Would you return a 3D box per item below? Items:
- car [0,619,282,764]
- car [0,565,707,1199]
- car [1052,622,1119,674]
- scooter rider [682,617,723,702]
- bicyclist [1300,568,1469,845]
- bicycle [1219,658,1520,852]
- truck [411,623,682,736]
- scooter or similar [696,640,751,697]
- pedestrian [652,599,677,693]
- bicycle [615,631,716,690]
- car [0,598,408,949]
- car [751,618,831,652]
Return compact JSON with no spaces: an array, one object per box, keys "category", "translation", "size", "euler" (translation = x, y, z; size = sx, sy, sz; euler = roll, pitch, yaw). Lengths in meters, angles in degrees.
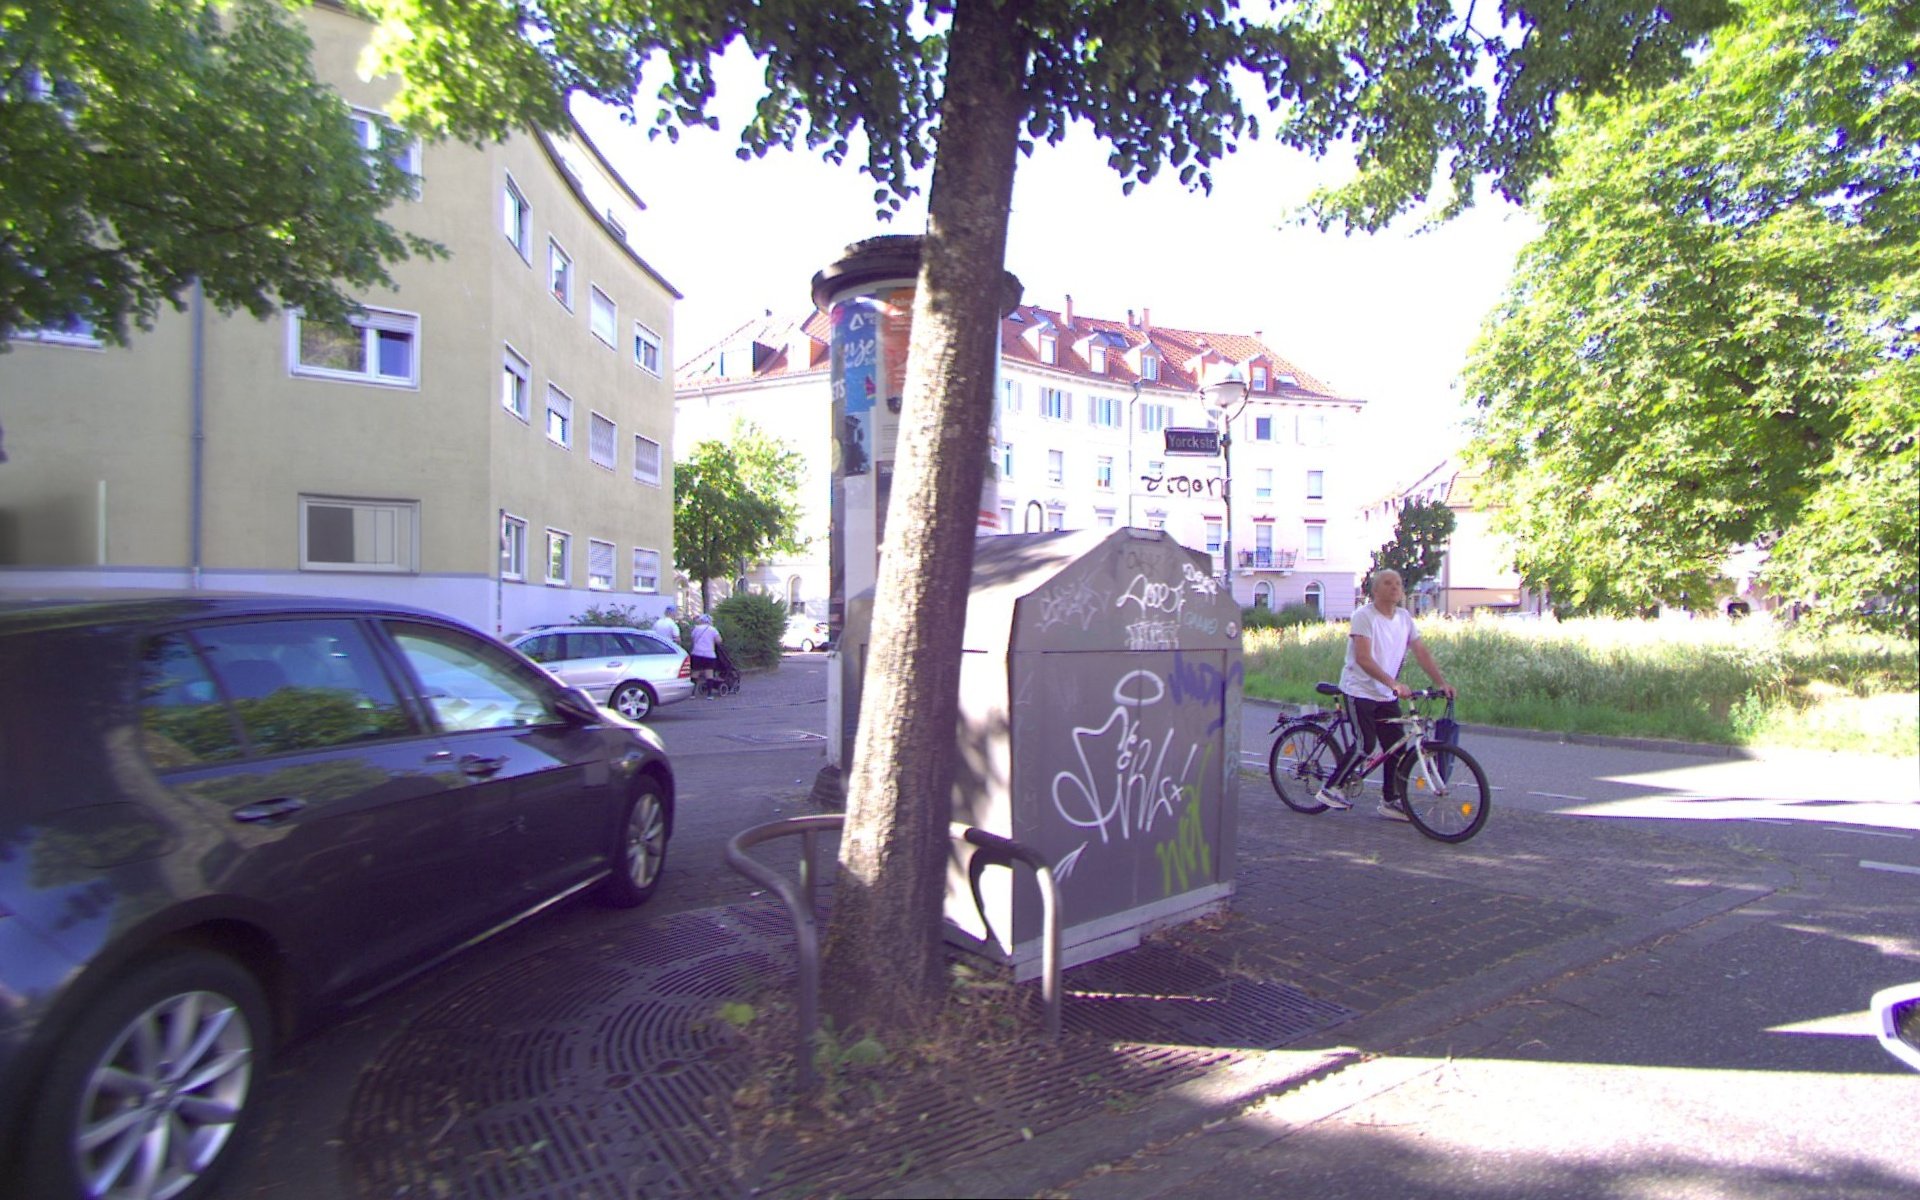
[{"category":"car","translation":[-10.348,0.991,11.601],"size":[4.127,1.547,1.518],"euler":[1,-1,-37]},{"category":"car","translation":[-2.449,0.687,3.411],"size":[1.740,1.501,4.144],"euler":[2,-1,6]},{"category":"car","translation":[4.291,1.555,33.776],"size":[1.959,1.628,4.129],"euler":[0,-1,11]},{"category":"scooter rider","translation":[-4.738,1.092,18.522],"size":[0.595,1.549,0.525],"euler":[0,-1,3]},{"category":"bicyclist","translation":[3.023,0.704,7.157],"size":[0.794,1.808,0.877],"euler":[1,-1,-44]},{"category":"bicycle","translation":[2.906,1.036,7.307],"size":[0.660,1.159,1.940],"euler":[1,-1,-43]},{"category":"truck","translation":[-5.956,1.068,14.601],"size":[3.382,1.455,1.519],"euler":[1,-1,-37]},{"category":"scooter or similar","translation":[-4.525,1.306,19.250],"size":[0.876,1.050,0.711],"euler":[0,-1,2]},{"category":"pedestrian","translation":[-5.299,0.817,18.026],"size":[0.410,1.664,0.532],"euler":[0,-1,-17]},{"category":"bicycle","translation":[-5.880,1.185,20.161],"size":[0.481,1.087,2.135],"euler":[-1,-1,34]},{"category":"car","translation":[-4.717,0.715,4.840],"size":[1.751,1.421,4.002],"euler":[0,-1,3]},{"category":"car","translation":[-7.727,1.580,46.072],"size":[3.338,1.485,1.488],"euler":[0,-1,21]}]
